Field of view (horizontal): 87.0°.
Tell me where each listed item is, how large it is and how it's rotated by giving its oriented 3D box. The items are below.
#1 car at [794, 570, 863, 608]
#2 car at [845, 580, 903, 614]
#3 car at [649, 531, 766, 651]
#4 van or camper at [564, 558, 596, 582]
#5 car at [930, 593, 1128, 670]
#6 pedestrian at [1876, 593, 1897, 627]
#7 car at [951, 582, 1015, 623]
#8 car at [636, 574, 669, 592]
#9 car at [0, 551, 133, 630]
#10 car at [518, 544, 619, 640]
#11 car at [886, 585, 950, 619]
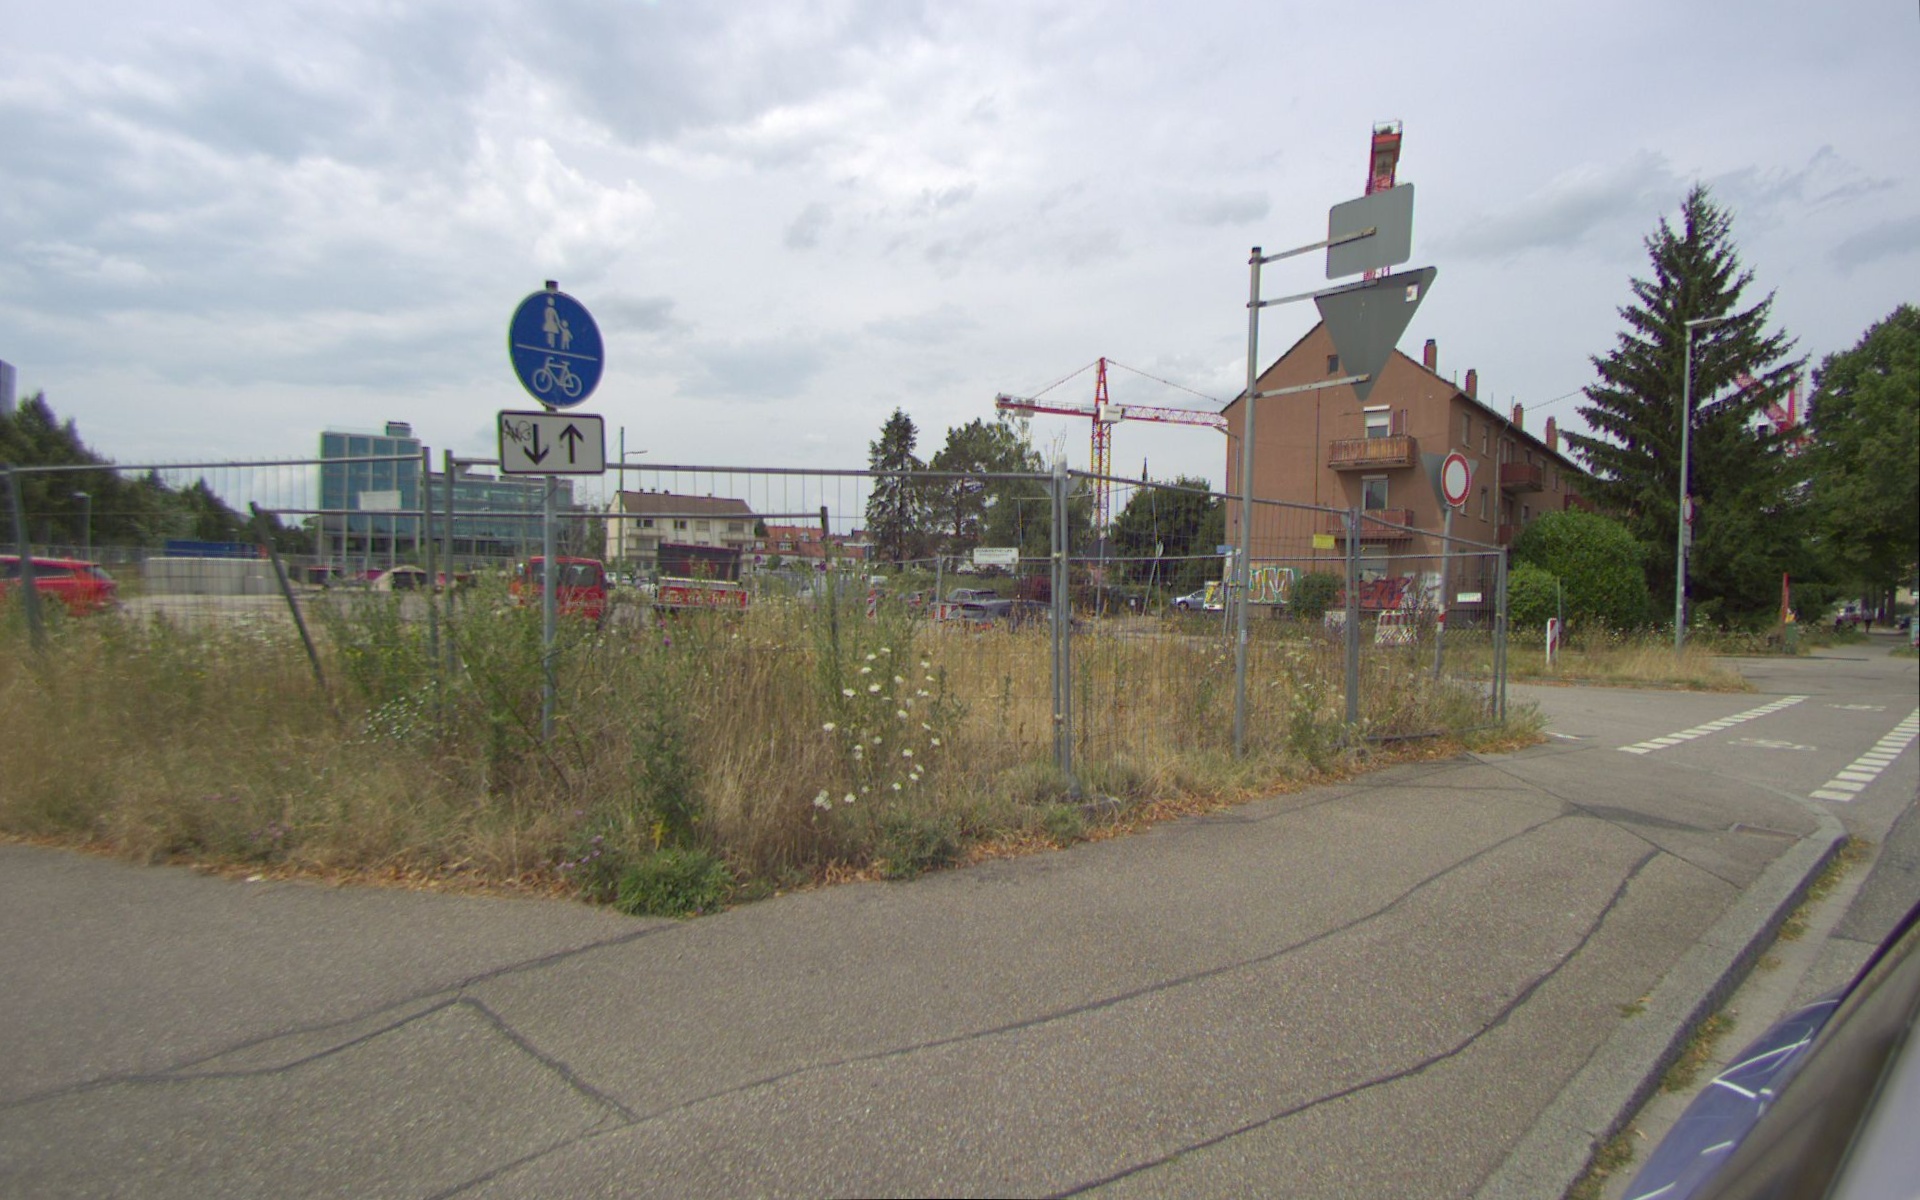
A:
[{"bbox_3d":[-8.095,-0.690,61.967,2.107,2.163,4.909,1,1,-36],"label":"car"},{"bbox_3d":[-4.894,-0.182,57.273,1.820,1.771,4.019,1,1,-28],"label":"car"},{"bbox_3d":[-6.203,-0.245,24.214,2.269,2.442,6.557,1,1,-18],"label":"car"},{"bbox_3d":[-45.033,-3.503,119.948,2.307,2.721,5.247,1,1,-34],"label":"van or camper"},{"bbox_3d":[1.561,0.639,22.215,4.179,1.492,1.767,1,1,-36],"label":"car"},{"bbox_3d":[56.197,0.608,61.404,0.719,2.039,0.854,1,0,-43],"label":"pedestrian"},{"bbox_3d":[1.073,0.080,48.598,1.764,1.872,4.009,1,1,-19],"label":"car"},{"bbox_3d":[-27.748,-1.517,91.291,1.821,1.554,4.017,1,1,-32],"label":"car"},{"bbox_3d":[-19.641,-0.216,20.428,4.444,1.552,1.789,1,1,-36],"label":"car"},{"bbox_3d":[-9.142,-0.200,23.957,1.896,1.934,4.999,4,0,-19],"label":"car"},{"bbox_3d":[-2.235,0.074,52.909,1.765,1.622,4.020,1,1,-28],"label":"car"}]
